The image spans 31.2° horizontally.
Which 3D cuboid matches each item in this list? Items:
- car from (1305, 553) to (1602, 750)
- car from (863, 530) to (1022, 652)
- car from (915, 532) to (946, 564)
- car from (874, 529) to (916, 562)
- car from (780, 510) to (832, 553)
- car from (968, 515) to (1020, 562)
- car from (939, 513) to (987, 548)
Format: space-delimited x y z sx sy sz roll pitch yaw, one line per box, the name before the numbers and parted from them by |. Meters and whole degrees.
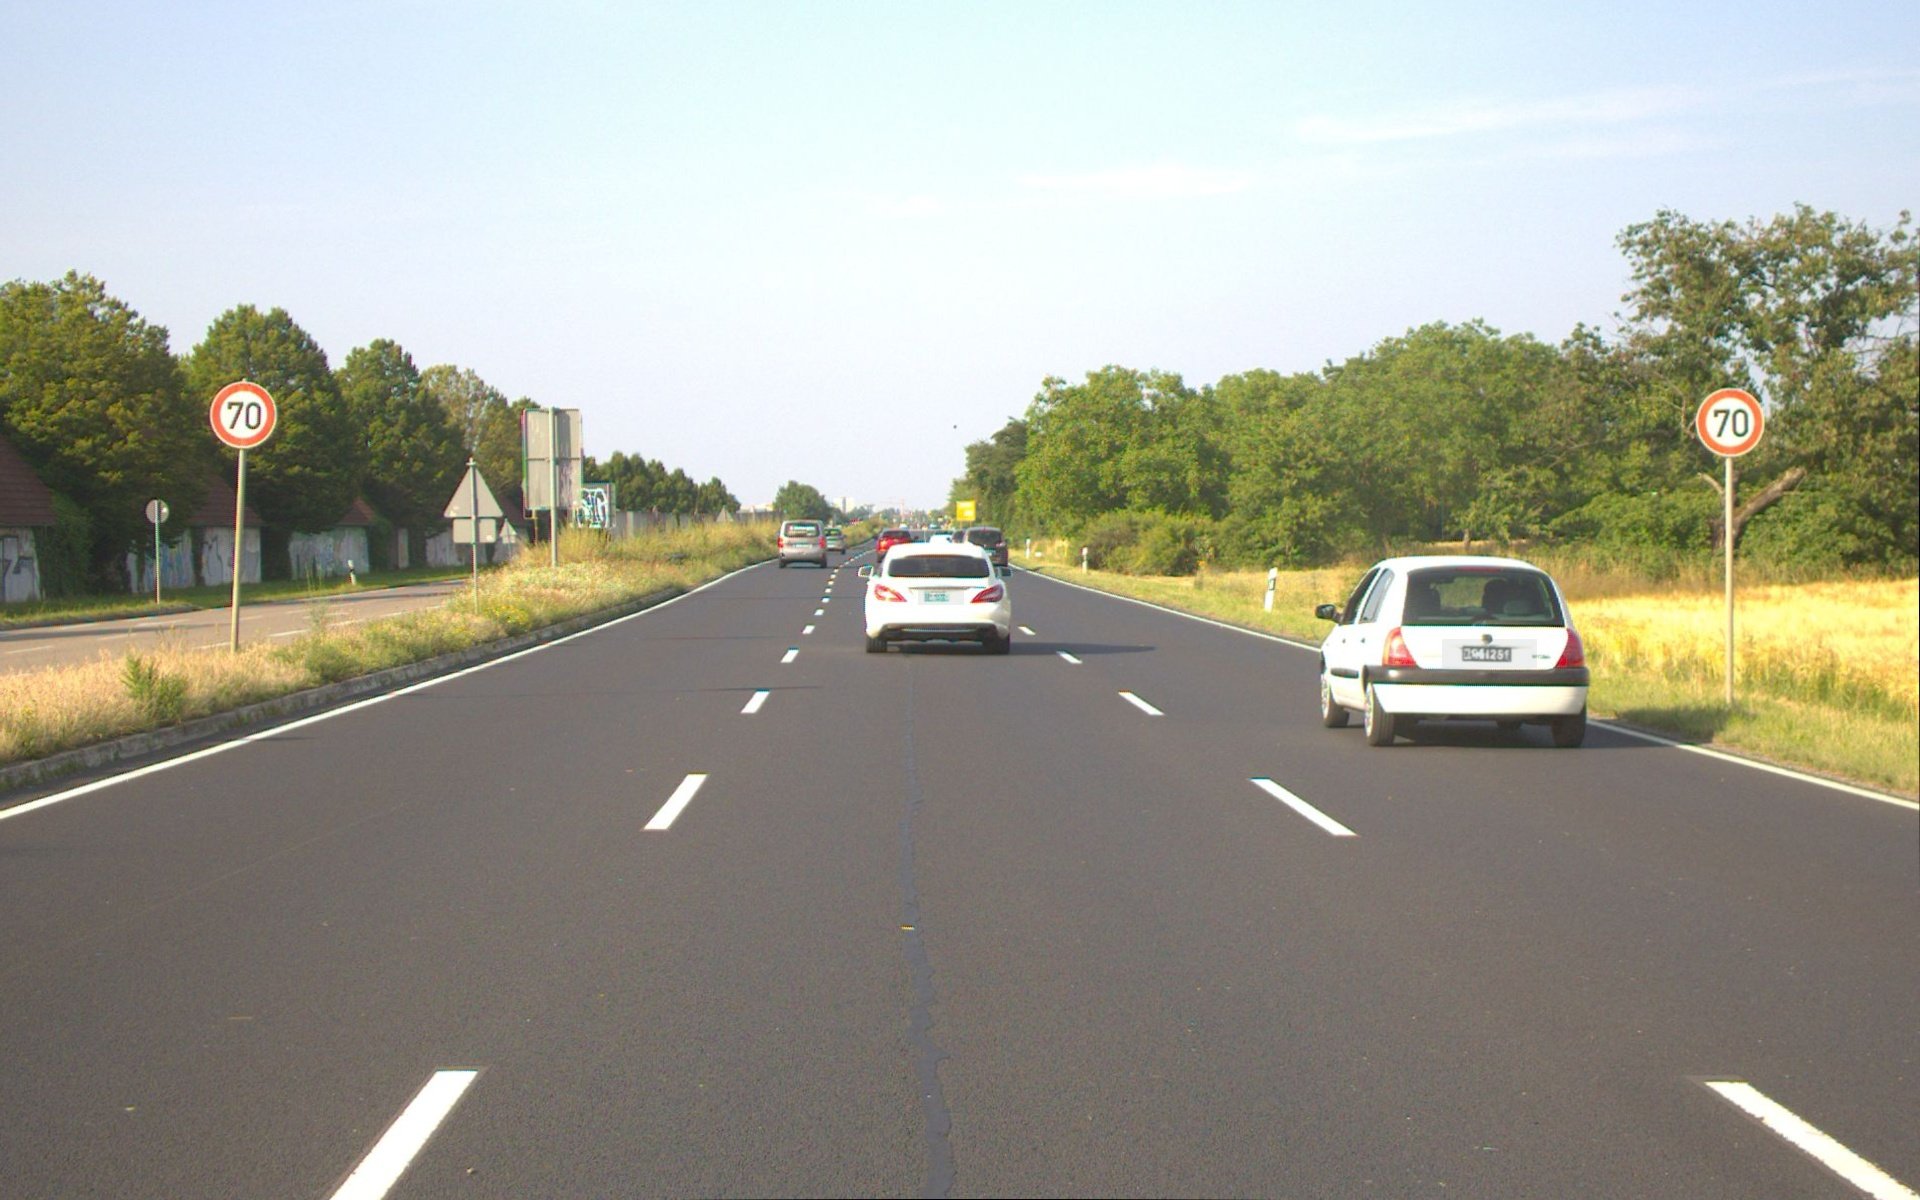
car | 3.705 0.350 26.421 1.617 1.382 3.952 1 0 -1
car | -0.246 -0.128 45.406 1.993 1.511 4.000 1 0 -1
car | -1.759 -3.146 207.946 1.803 1.897 3.559 1 0 0
car | -2.895 -2.395 152.201 1.812 1.431 3.859 1 0 -1
car | -6.063 -2.702 135.591 1.758 1.612 4.000 1 0 1
car | 1.271 -2.306 130.034 1.828 1.722 4.000 1 0 -1
car | 0.136 -3.272 162.689 1.993 1.579 4.285 1 0 -3
